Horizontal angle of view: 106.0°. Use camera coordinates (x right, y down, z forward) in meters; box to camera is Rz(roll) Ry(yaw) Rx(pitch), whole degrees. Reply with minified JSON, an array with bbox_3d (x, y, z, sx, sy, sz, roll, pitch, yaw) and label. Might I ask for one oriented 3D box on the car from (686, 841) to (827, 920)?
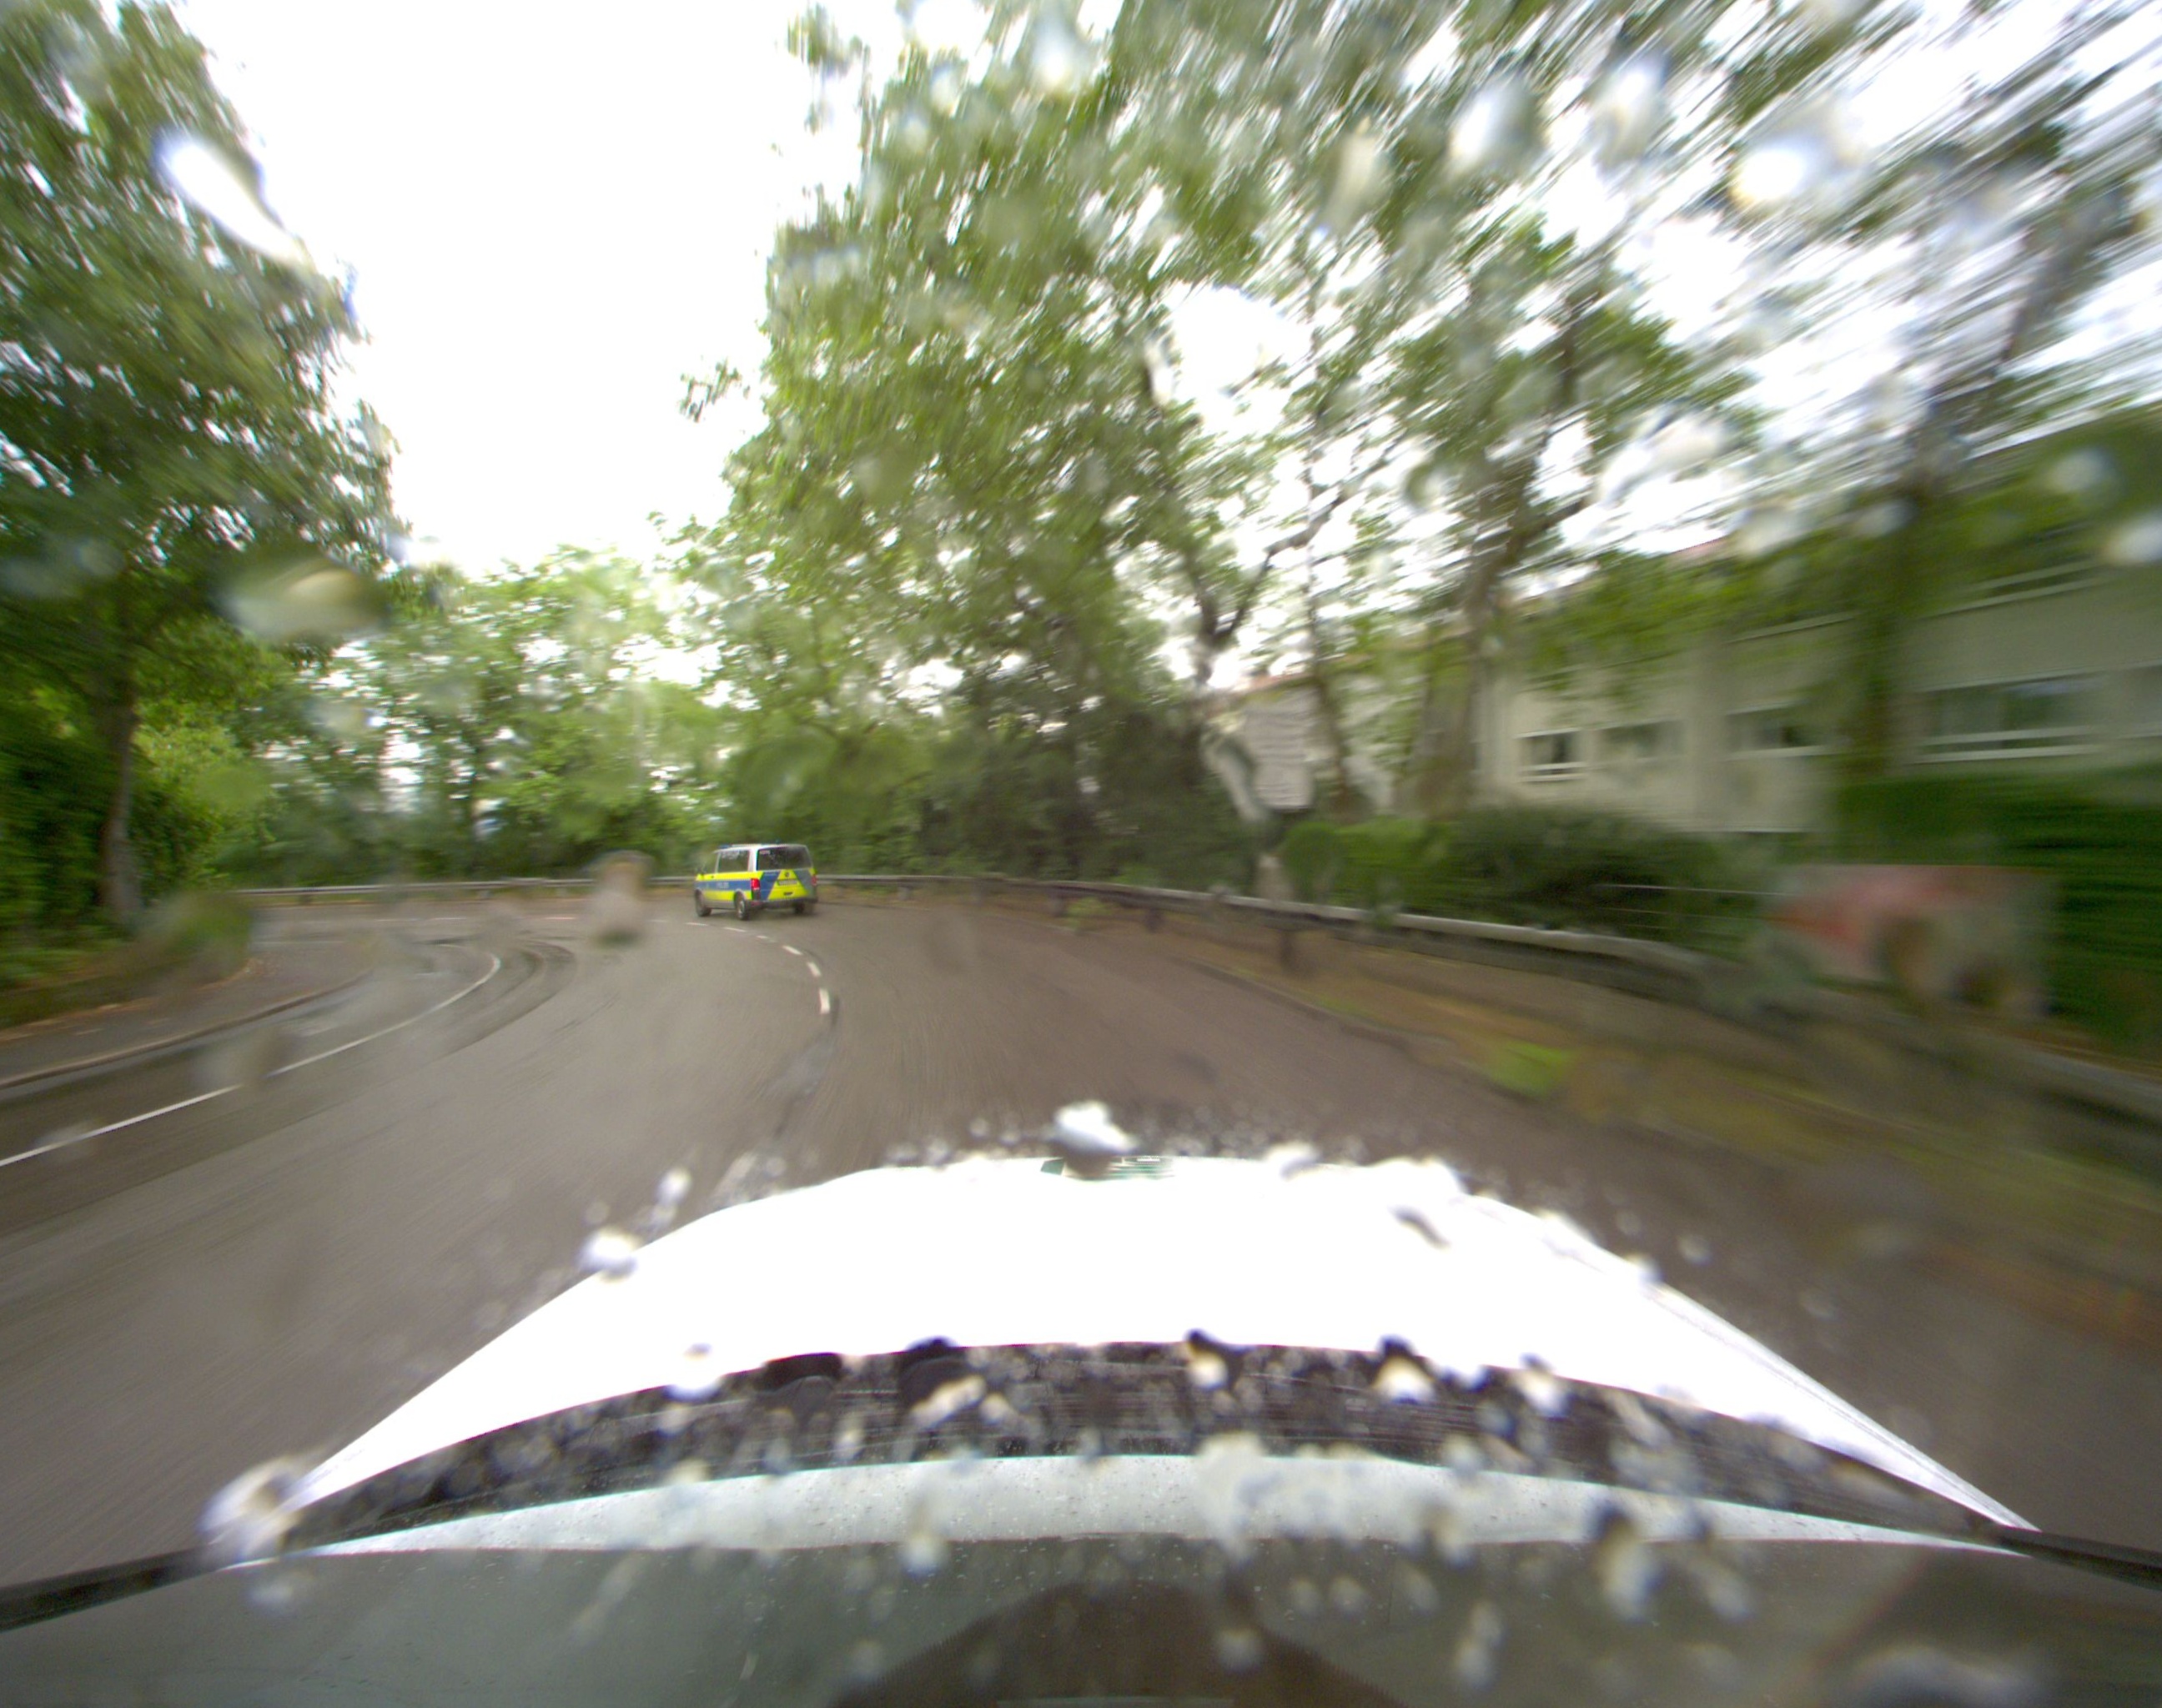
[{"bbox_3d":[-9.176,0.726,22.836,2.012,1.893,4.513,-5,2,-44],"label":"car"}]
